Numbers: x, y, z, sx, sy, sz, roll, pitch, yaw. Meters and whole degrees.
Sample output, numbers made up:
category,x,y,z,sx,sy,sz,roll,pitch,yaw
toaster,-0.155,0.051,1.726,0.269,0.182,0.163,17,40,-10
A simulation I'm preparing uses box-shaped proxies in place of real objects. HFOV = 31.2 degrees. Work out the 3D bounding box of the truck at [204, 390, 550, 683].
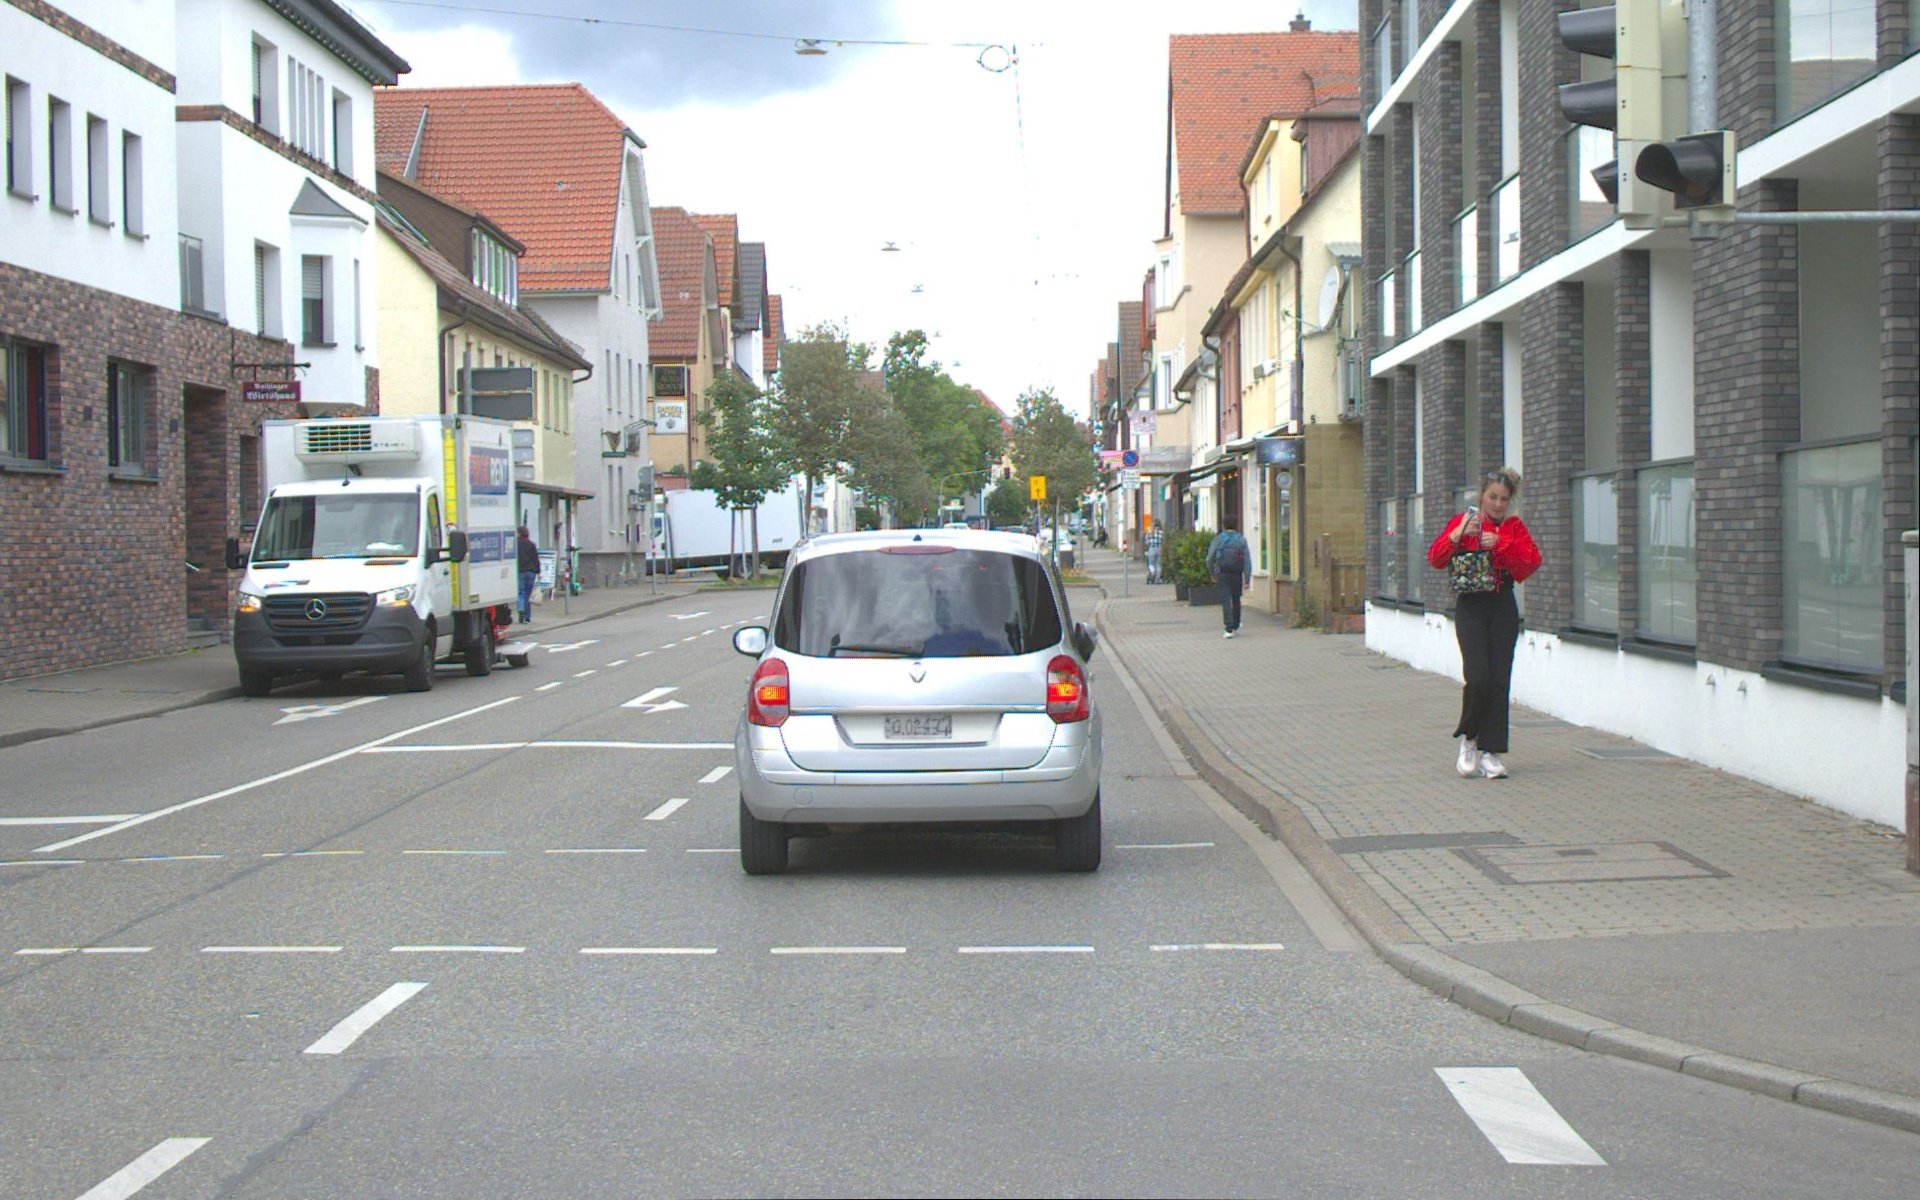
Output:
category,x,y,z,sx,sy,sz,roll,pitch,yaw
truck,-6.422,-0.732,39.139,2.435,2.943,8.365,-1,1,0

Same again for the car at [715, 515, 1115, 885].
category,x,y,z,sx,sy,sz,roll,pitch,yaw
car,-0.186,0.395,17.010,1.706,1.573,4.000,1,1,0

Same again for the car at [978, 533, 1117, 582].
category,x,y,z,sx,sy,sz,roll,pitch,yaw
car,2.545,-1.243,100.442,3.729,1.309,1.521,1,1,-20

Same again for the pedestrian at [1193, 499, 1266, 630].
category,x,y,z,sx,sy,sz,roll,pitch,yaw
pedestrian,3.793,-0.503,48.400,0.889,1.780,0.785,-3,1,1

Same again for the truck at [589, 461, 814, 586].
category,x,y,z,sx,sy,sz,roll,pitch,yaw
truck,-8.314,-2.465,110.457,6.824,3.844,2.605,-1,1,-13

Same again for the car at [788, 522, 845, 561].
category,x,y,z,sx,sy,sz,roll,pitch,yaw
car,-5.233,-2.153,125.690,1.813,1.349,4.000,-1,1,1

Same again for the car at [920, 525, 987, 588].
category,x,y,z,sx,sy,sz,roll,pitch,yaw
car,-0.158,-1.164,90.827,1.706,1.573,4.000,1,1,0

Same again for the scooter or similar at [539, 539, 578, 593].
category,x,y,z,sx,sy,sz,roll,pitch,yaw
scooter or similar,-9.647,-0.821,82.713,0.575,1.265,2.548,-1,1,1

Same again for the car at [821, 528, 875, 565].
category,x,y,z,sx,sy,sz,roll,pitch,yaw
car,-4.268,-2.039,131.146,1.813,1.349,4.000,-1,1,1

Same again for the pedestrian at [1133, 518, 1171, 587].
category,x,y,z,sx,sy,sz,roll,pitch,yaw
pedestrian,5.110,-1.269,91.640,0.889,1.780,0.785,-3,1,1

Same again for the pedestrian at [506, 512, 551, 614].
category,x,y,z,sx,sy,sz,roll,pitch,yaw
pedestrian,-7.565,-0.651,60.266,0.662,1.751,0.688,1,1,1

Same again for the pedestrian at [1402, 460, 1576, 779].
category,x,y,z,sx,sy,sz,roll,pitch,yaw
pedestrian,3.074,0.104,20.042,0.807,1.780,0.861,-3,1,1

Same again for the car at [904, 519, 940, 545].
category,x,y,z,sx,sy,sz,roll,pitch,yaw
car,-2.057,-3.723,187.965,1.813,1.349,3.857,-1,1,1

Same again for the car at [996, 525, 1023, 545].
category,x,y,z,sx,sy,sz,roll,pitch,yaw
car,3.469,-4.534,238.578,1.813,1.349,4.000,-1,1,1

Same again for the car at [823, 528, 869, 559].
category,x,y,z,sx,sy,sz,roll,pitch,yaw
car,-5.065,-2.518,152.693,1.813,1.349,4.000,-1,1,1
